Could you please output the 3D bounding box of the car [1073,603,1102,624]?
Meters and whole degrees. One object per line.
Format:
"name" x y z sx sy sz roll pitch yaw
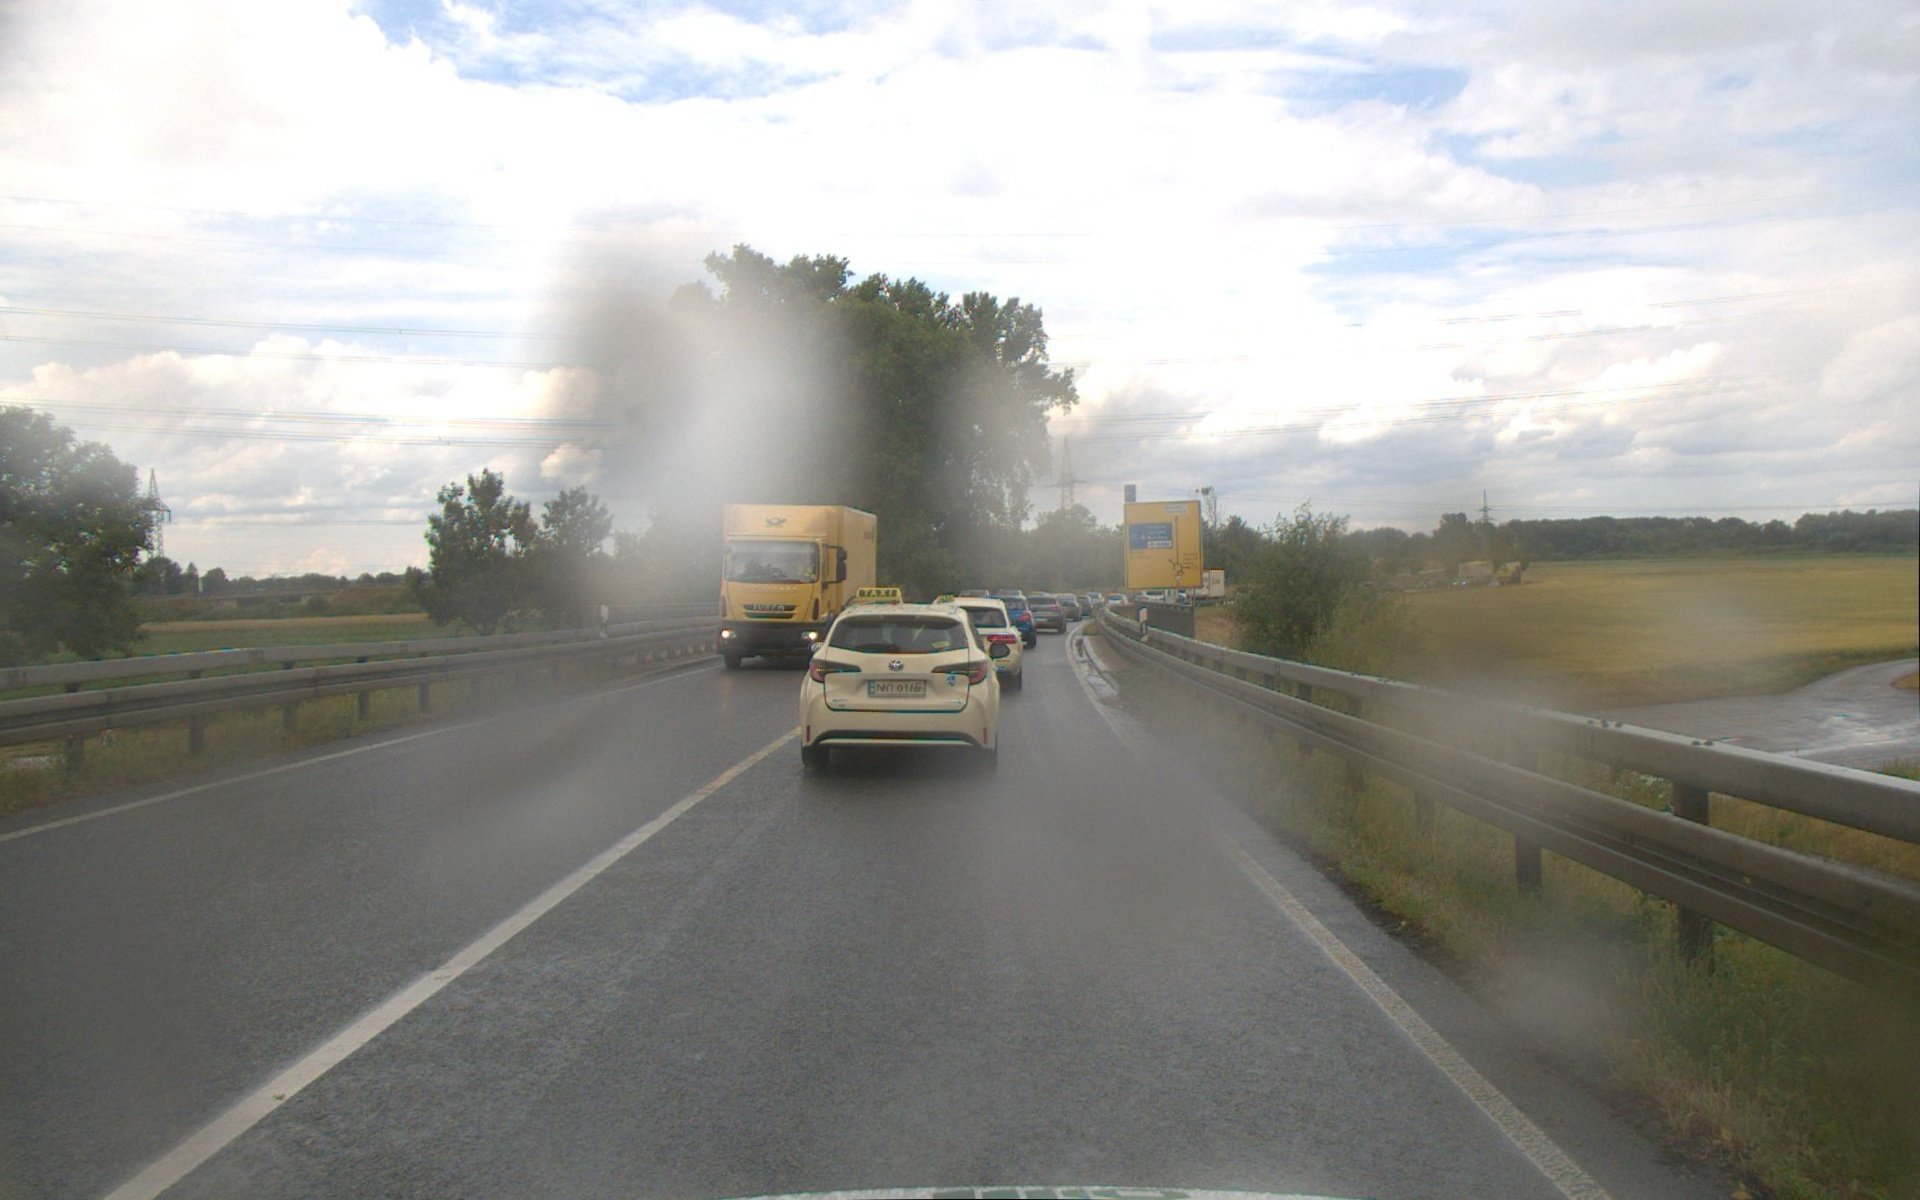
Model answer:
"car" 8.132 0.868 105.548 1.451 1.332 3.480 0 0 11

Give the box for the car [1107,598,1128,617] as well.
"car" 11.747 0.561 123.087 1.451 1.332 3.479 0 0 8

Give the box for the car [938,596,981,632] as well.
"car" 0.005 0.691 83.220 1.709 1.682 4.528 0 1 6

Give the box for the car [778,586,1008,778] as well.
"car" -0.491 0.677 15.706 1.866 1.564 4.162 0 0 2

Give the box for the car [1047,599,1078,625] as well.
"car" 5.755 0.683 92.424 1.625 1.434 3.906 0 -1 5

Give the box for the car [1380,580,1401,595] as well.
"car" 61.985 -1.754 238.225 1.957 2.049 3.991 0 -1 31

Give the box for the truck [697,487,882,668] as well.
"truck" -3.557 -0.445 36.969 2.713 3.489 9.190 1 0 2

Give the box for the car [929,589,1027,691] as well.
"car" 0.354 0.629 27.858 1.545 1.600 3.682 0 0 2

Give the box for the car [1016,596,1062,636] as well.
"car" 3.116 0.616 64.587 1.630 1.489 3.479 0 0 6

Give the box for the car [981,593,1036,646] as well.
"car" 1.429 0.557 47.781 1.474 1.462 3.357 1 0 3

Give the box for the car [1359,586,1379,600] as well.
"car" 57.361 -1.023 231.859 1.784 1.870 3.982 0 -1 29

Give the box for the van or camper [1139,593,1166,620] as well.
"van or camper" 16.720 0.550 143.795 1.951 2.293 4.003 1 -1 12

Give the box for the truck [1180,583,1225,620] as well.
"truck" 24.712 0.198 168.407 3.075 3.624 7.523 0 -1 20
